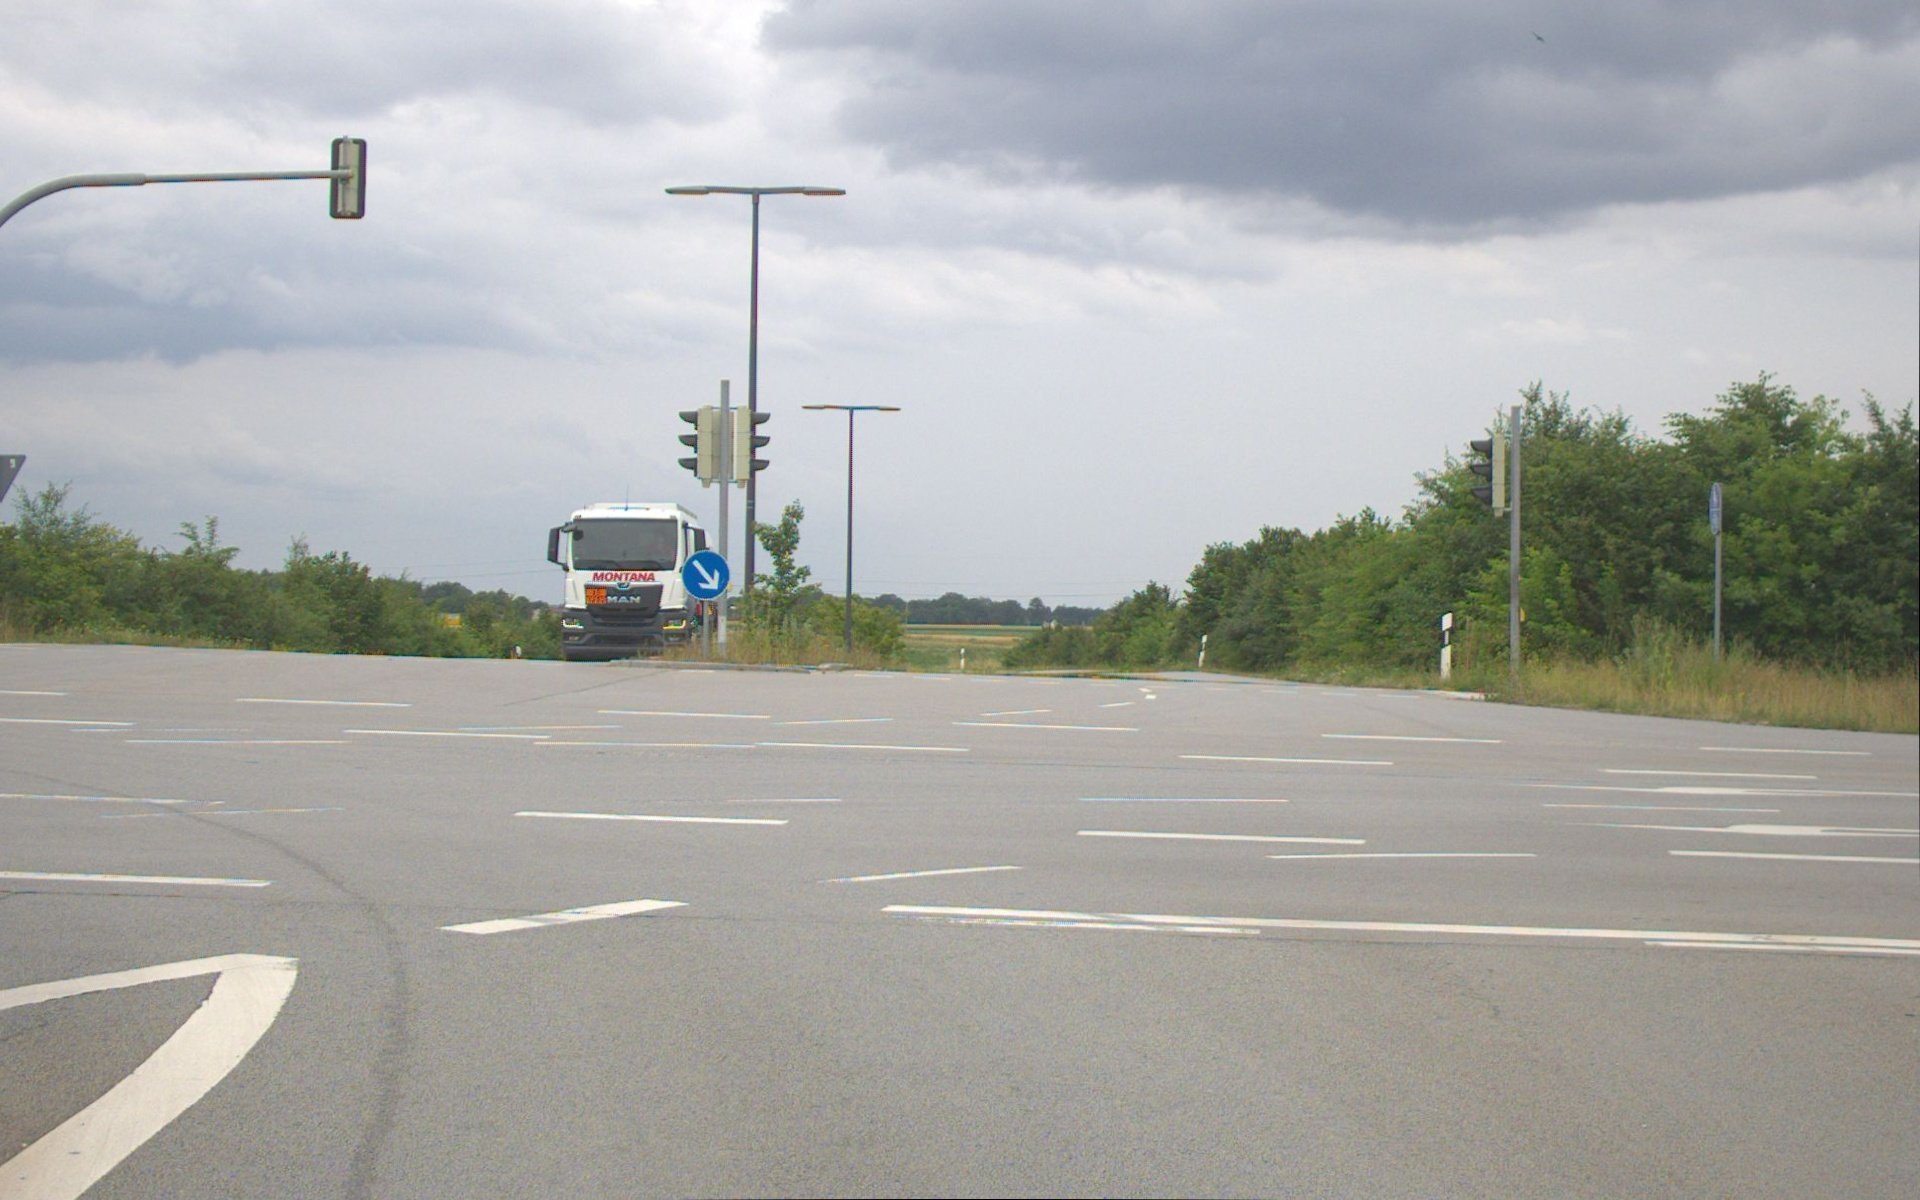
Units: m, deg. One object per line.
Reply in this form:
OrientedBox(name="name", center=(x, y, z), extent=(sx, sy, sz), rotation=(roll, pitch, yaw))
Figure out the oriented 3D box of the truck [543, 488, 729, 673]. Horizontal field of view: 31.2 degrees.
OrientedBox(name="truck", center=(-6.309, -0.297, 68.211), extent=(2.869, 3.397, 8.650), rotation=(1, -1, 0))
